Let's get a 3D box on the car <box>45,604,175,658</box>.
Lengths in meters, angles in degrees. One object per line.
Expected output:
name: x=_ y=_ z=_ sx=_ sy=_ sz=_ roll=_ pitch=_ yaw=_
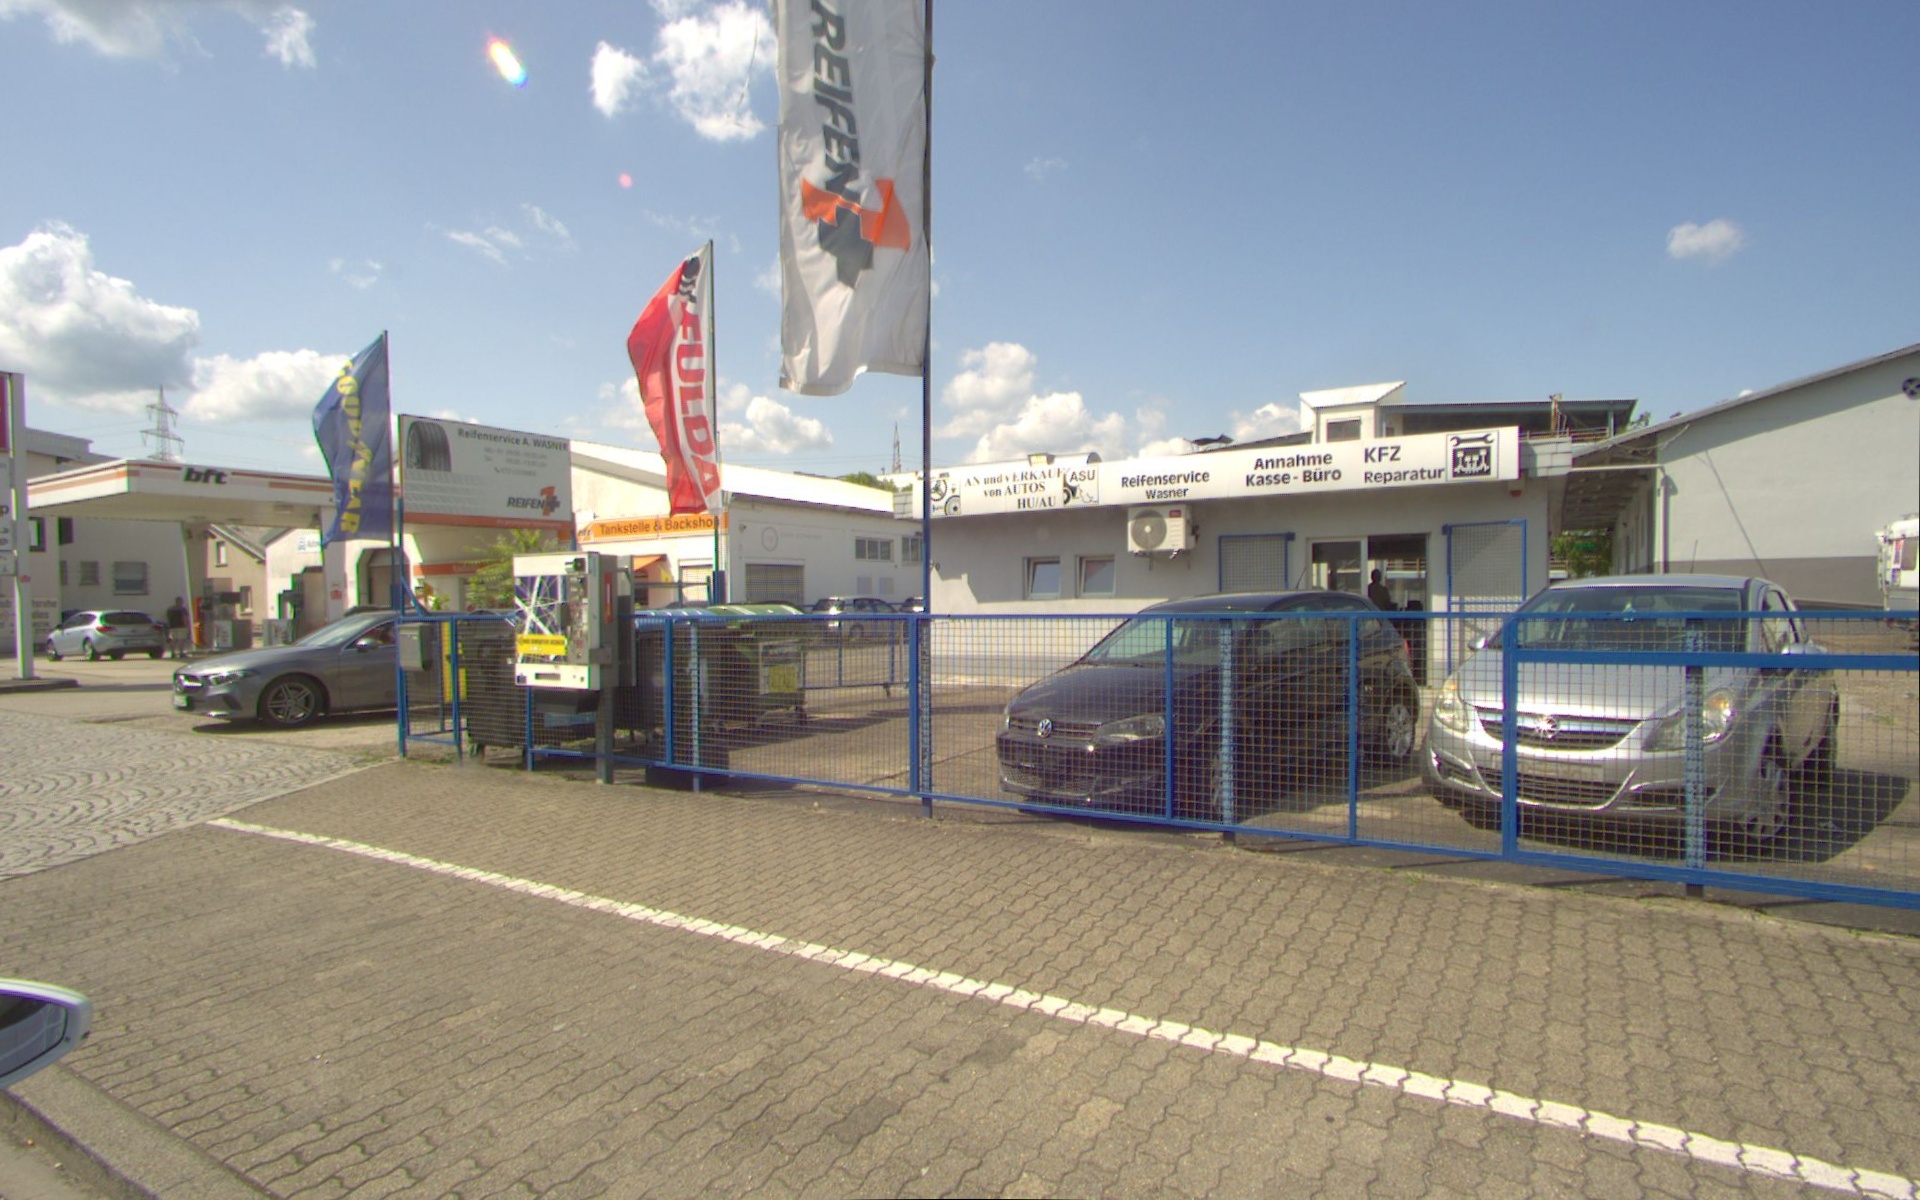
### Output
car: x=-25.738 y=0.903 z=30.311 sx=3.776 sy=1.523 sz=1.803 roll=-1 pitch=0 yaw=30

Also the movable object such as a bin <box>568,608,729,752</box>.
movable object such as a bin: x=-3.328 y=0.804 z=10.743 sx=1.225 sy=1.415 sz=1.106 roll=0 pitch=1 yaw=31

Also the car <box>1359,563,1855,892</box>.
car: x=4.271 y=0.562 z=6.386 sx=3.729 sy=1.472 sz=1.757 roll=-1 pitch=0 yaw=-42

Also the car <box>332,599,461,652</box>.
car: x=-17.311 y=0.749 z=30.729 sx=3.777 sy=1.523 sz=1.803 roll=-1 pitch=0 yaw=31

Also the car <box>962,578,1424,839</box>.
car: x=1.896 y=0.603 z=7.490 sx=3.655 sy=1.472 sz=1.625 roll=-1 pitch=0 yaw=-43

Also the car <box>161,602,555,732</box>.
car: x=-7.890 y=0.764 z=13.497 sx=1.654 sy=1.434 sz=4.253 roll=0 pitch=0 yaw=39

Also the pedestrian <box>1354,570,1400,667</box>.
pedestrian: x=7.351 y=0.321 z=17.651 sx=0.654 sy=1.671 sz=0.563 roll=0 pitch=1 yaw=34

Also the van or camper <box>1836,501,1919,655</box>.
van or camper: x=21.014 y=-0.452 z=19.535 sx=5.571 sy=3.005 sz=2.264 roll=0 pitch=1 yaw=31

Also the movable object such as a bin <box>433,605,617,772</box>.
movable object such as a bin: x=-4.161 y=0.787 z=9.612 sx=1.225 sy=1.455 sz=1.106 roll=0 pitch=1 yaw=31

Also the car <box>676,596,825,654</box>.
car: x=-5.719 y=0.643 z=27.824 sx=1.564 sy=1.482 sz=4.187 roll=0 pitch=0 yaw=33

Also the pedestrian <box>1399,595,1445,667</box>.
pedestrian: x=8.045 y=0.534 z=17.444 sx=0.654 sy=1.225 sz=0.563 roll=0 pitch=1 yaw=34

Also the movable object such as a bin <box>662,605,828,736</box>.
movable object such as a bin: x=-2.535 y=0.784 z=11.908 sx=1.318 sy=1.414 sz=1.400 roll=0 pitch=1 yaw=31

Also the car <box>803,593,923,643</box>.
car: x=-3.016 y=0.529 z=32.056 sx=1.564 sy=1.482 sz=4.187 roll=0 pitch=0 yaw=33

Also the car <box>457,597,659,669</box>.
car: x=-9.166 y=0.690 z=23.169 sx=1.564 sy=1.482 sz=4.187 roll=0 pitch=0 yaw=33

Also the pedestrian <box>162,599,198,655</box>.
pedestrian: x=-23.778 y=0.803 z=30.521 sx=0.698 sy=1.679 sz=0.546 roll=-1 pitch=1 yaw=-22

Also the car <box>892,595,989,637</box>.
car: x=-0.641 y=0.536 z=35.741 sx=1.564 sy=1.385 sz=3.860 roll=0 pitch=0 yaw=33
